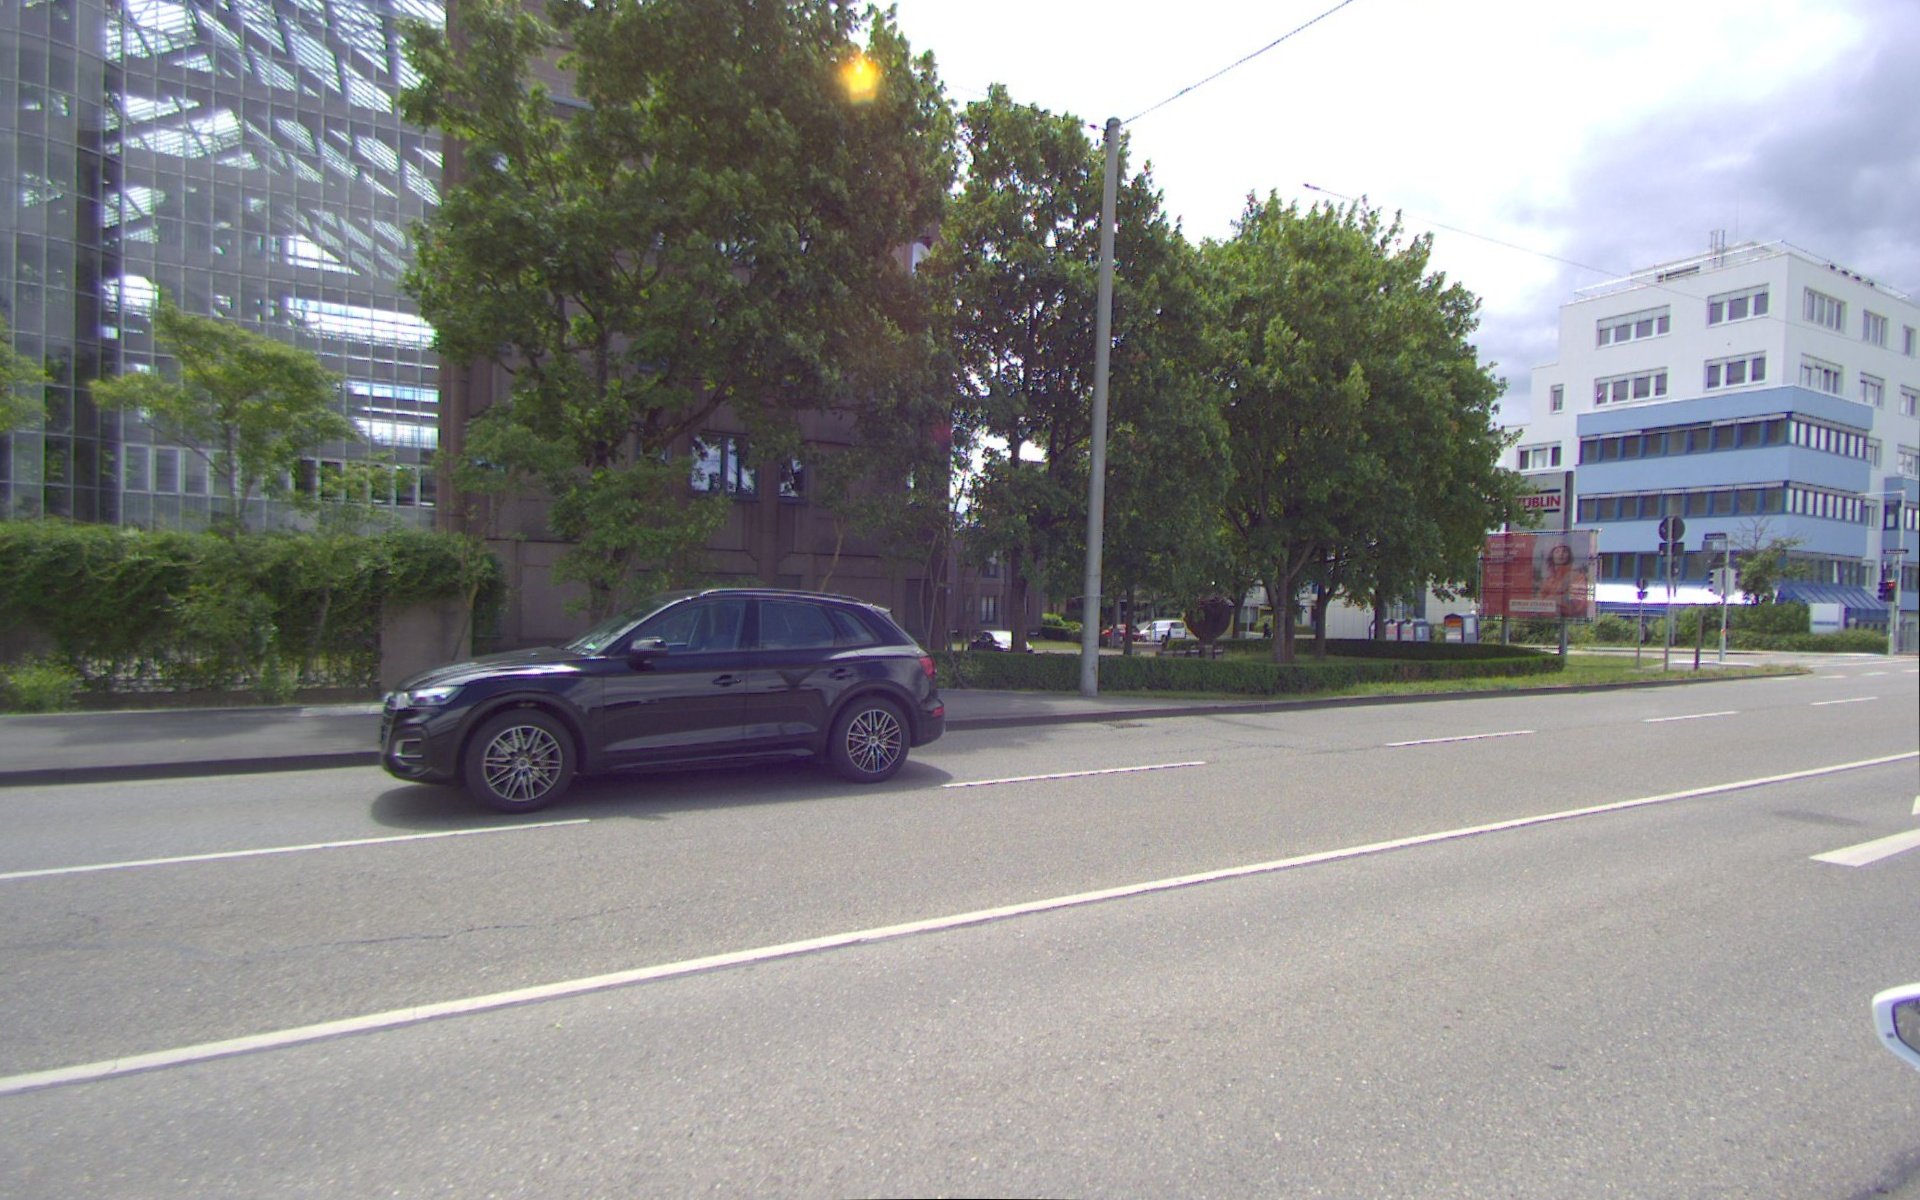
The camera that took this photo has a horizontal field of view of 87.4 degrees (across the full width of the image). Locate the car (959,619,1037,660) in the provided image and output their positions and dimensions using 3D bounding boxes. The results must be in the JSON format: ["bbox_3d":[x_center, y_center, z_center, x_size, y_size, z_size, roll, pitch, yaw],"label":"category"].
[{"bbox_3d":[1.642,1.790,45.042,1.764,1.750,3.971,1,-3,-28],"label":"car"}]

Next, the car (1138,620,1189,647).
[{"bbox_3d":[16.363,2.685,80.910,1.974,2.007,3.972,2,0,-27],"label":"car"}]

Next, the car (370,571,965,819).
[{"bbox_3d":[-2.375,0.703,8.595,4.517,1.636,1.859,2,-1,-30],"label":"car"}]

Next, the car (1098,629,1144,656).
[{"bbox_3d":[13.733,3.627,86.062,1.869,2.040,3.972,2,0,-27],"label":"car"}]
